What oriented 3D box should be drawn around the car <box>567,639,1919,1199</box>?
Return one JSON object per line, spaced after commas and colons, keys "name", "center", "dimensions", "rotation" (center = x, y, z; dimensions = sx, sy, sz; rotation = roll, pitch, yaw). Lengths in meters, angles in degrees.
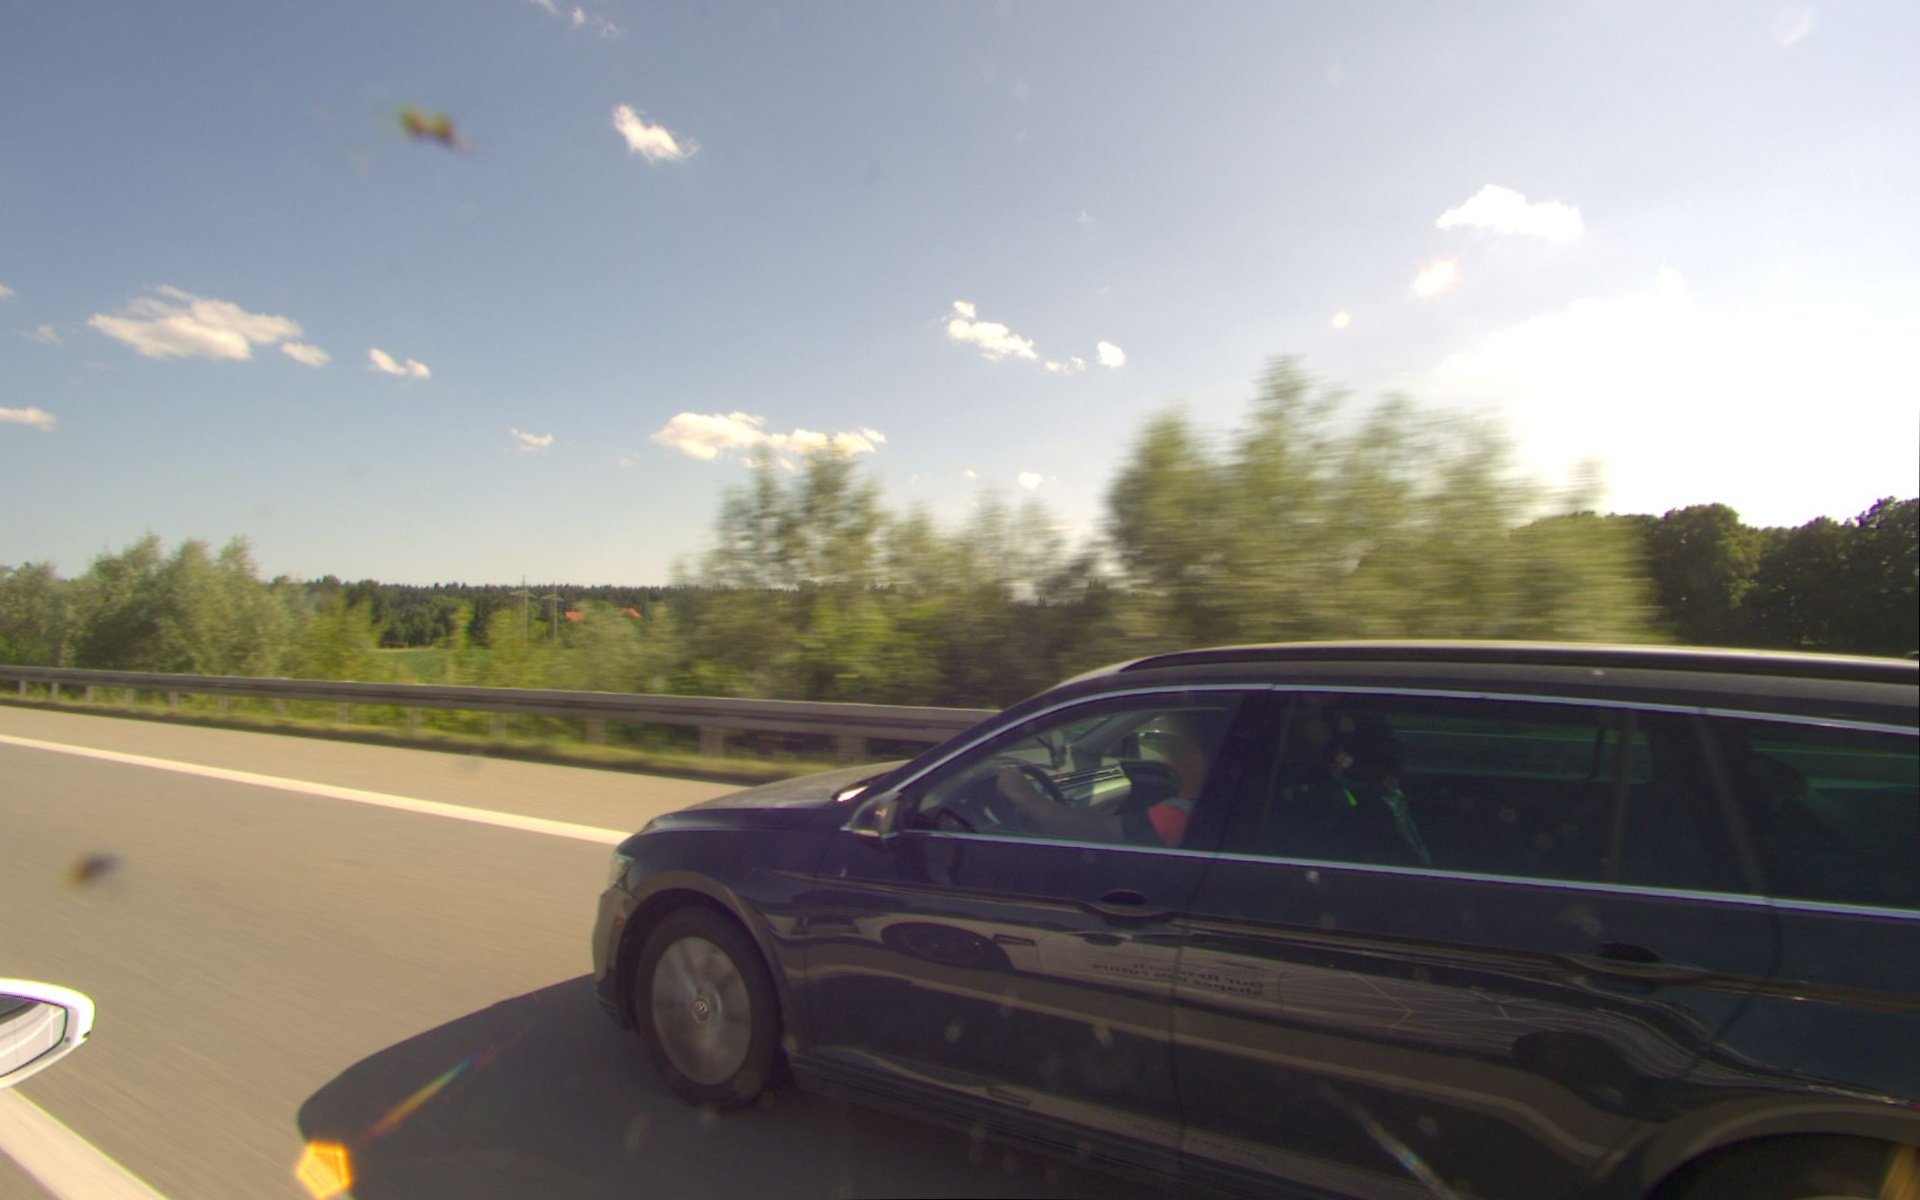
{"name": "car", "center": [1.005, 0.832, 2.889], "dimensions": [4.349, 1.418, 1.716], "rotation": [-1, -2, 31]}
